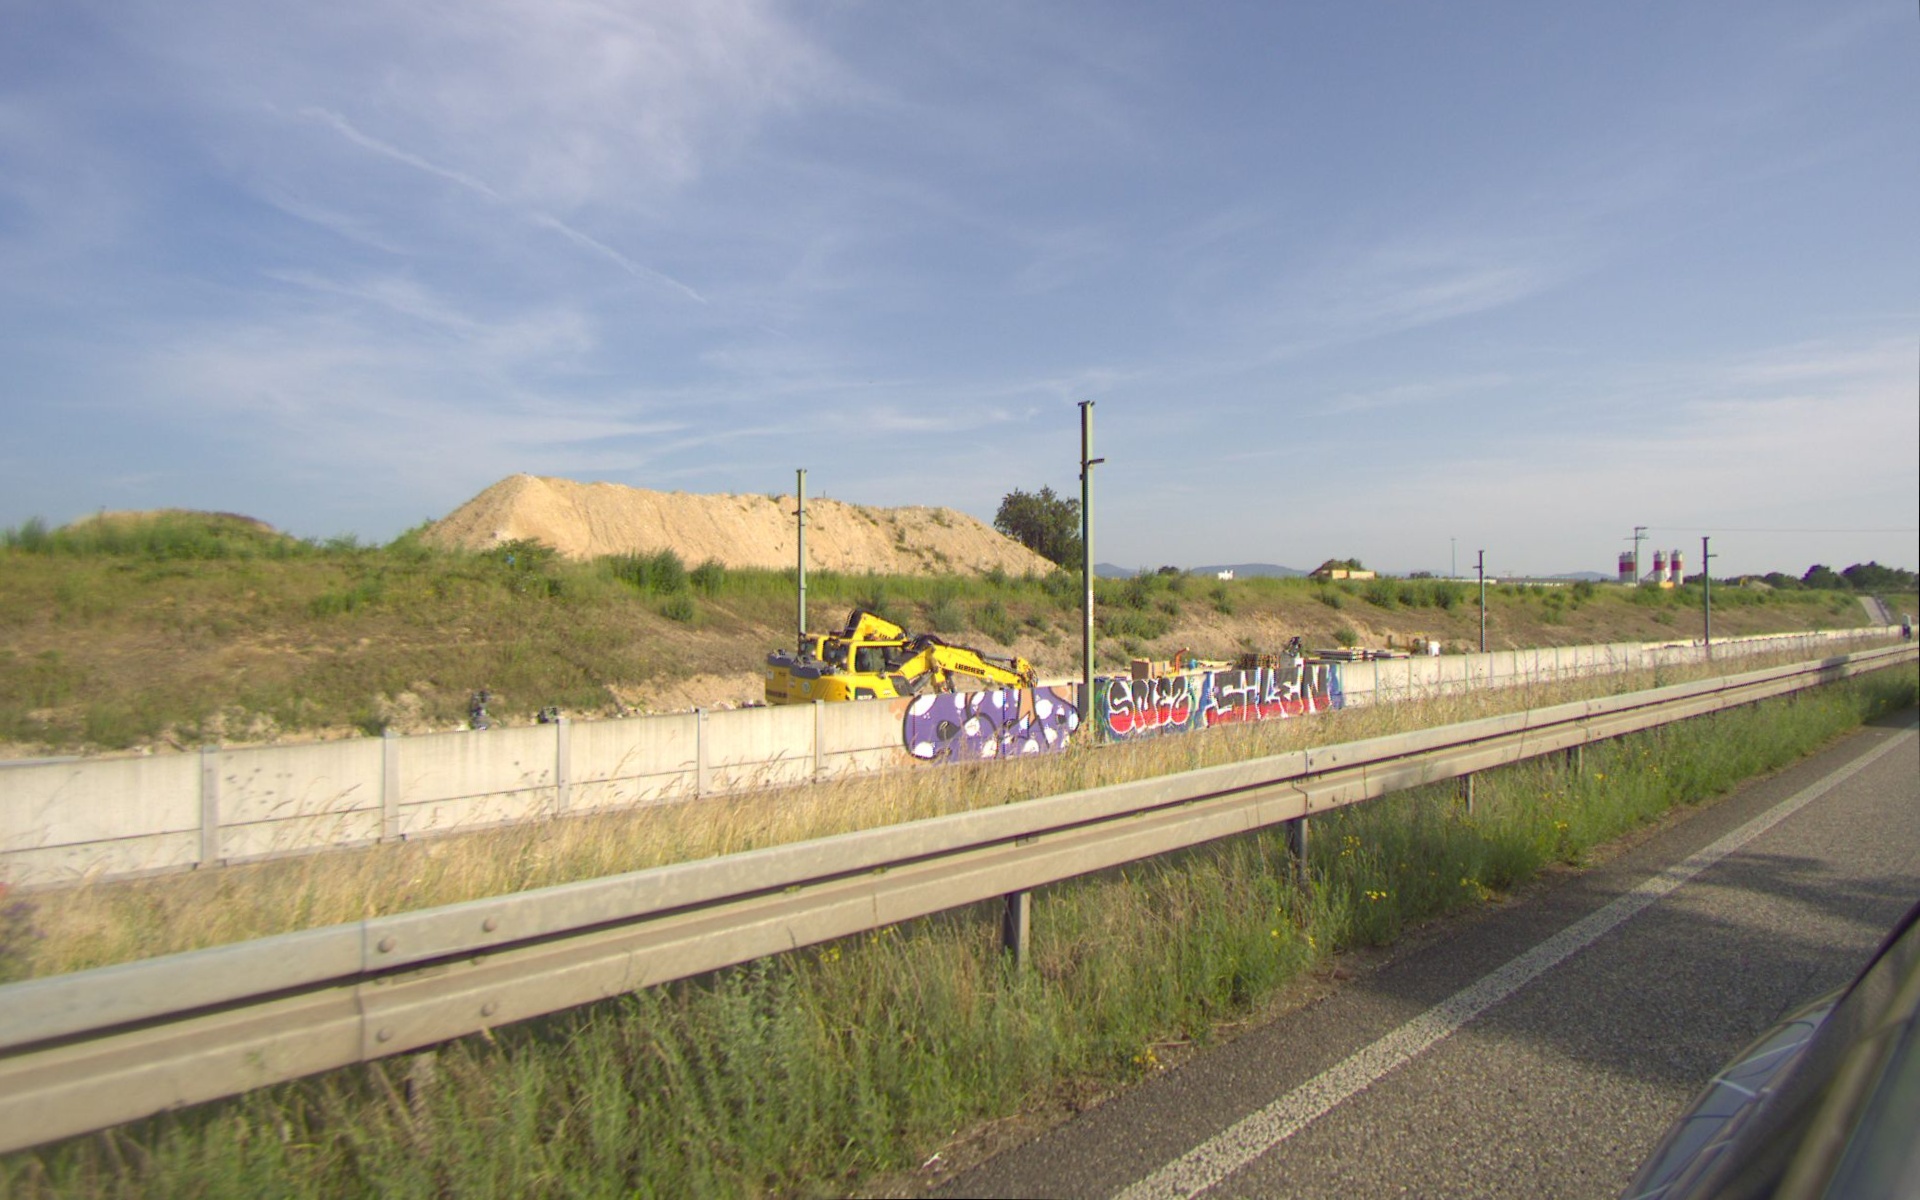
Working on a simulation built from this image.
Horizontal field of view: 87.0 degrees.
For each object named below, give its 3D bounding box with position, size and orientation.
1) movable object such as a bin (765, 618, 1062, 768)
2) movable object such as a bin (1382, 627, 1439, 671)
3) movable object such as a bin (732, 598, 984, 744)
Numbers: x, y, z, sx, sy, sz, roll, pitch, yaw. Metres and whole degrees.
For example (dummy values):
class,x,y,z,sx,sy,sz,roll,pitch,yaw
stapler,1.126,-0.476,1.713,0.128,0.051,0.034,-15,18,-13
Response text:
class,x,y,z,sx,sy,sz,roll,pitch,yaw
movable object such as a bin,-0.989,2.178,26.637,7.932,3.280,2.626,0,0,-41
movable object such as a bin,29.008,3.110,65.223,1.977,2.695,2.919,0,0,-14
movable object such as a bin,-2.936,1.926,30.888,7.406,3.935,2.801,0,0,-41
